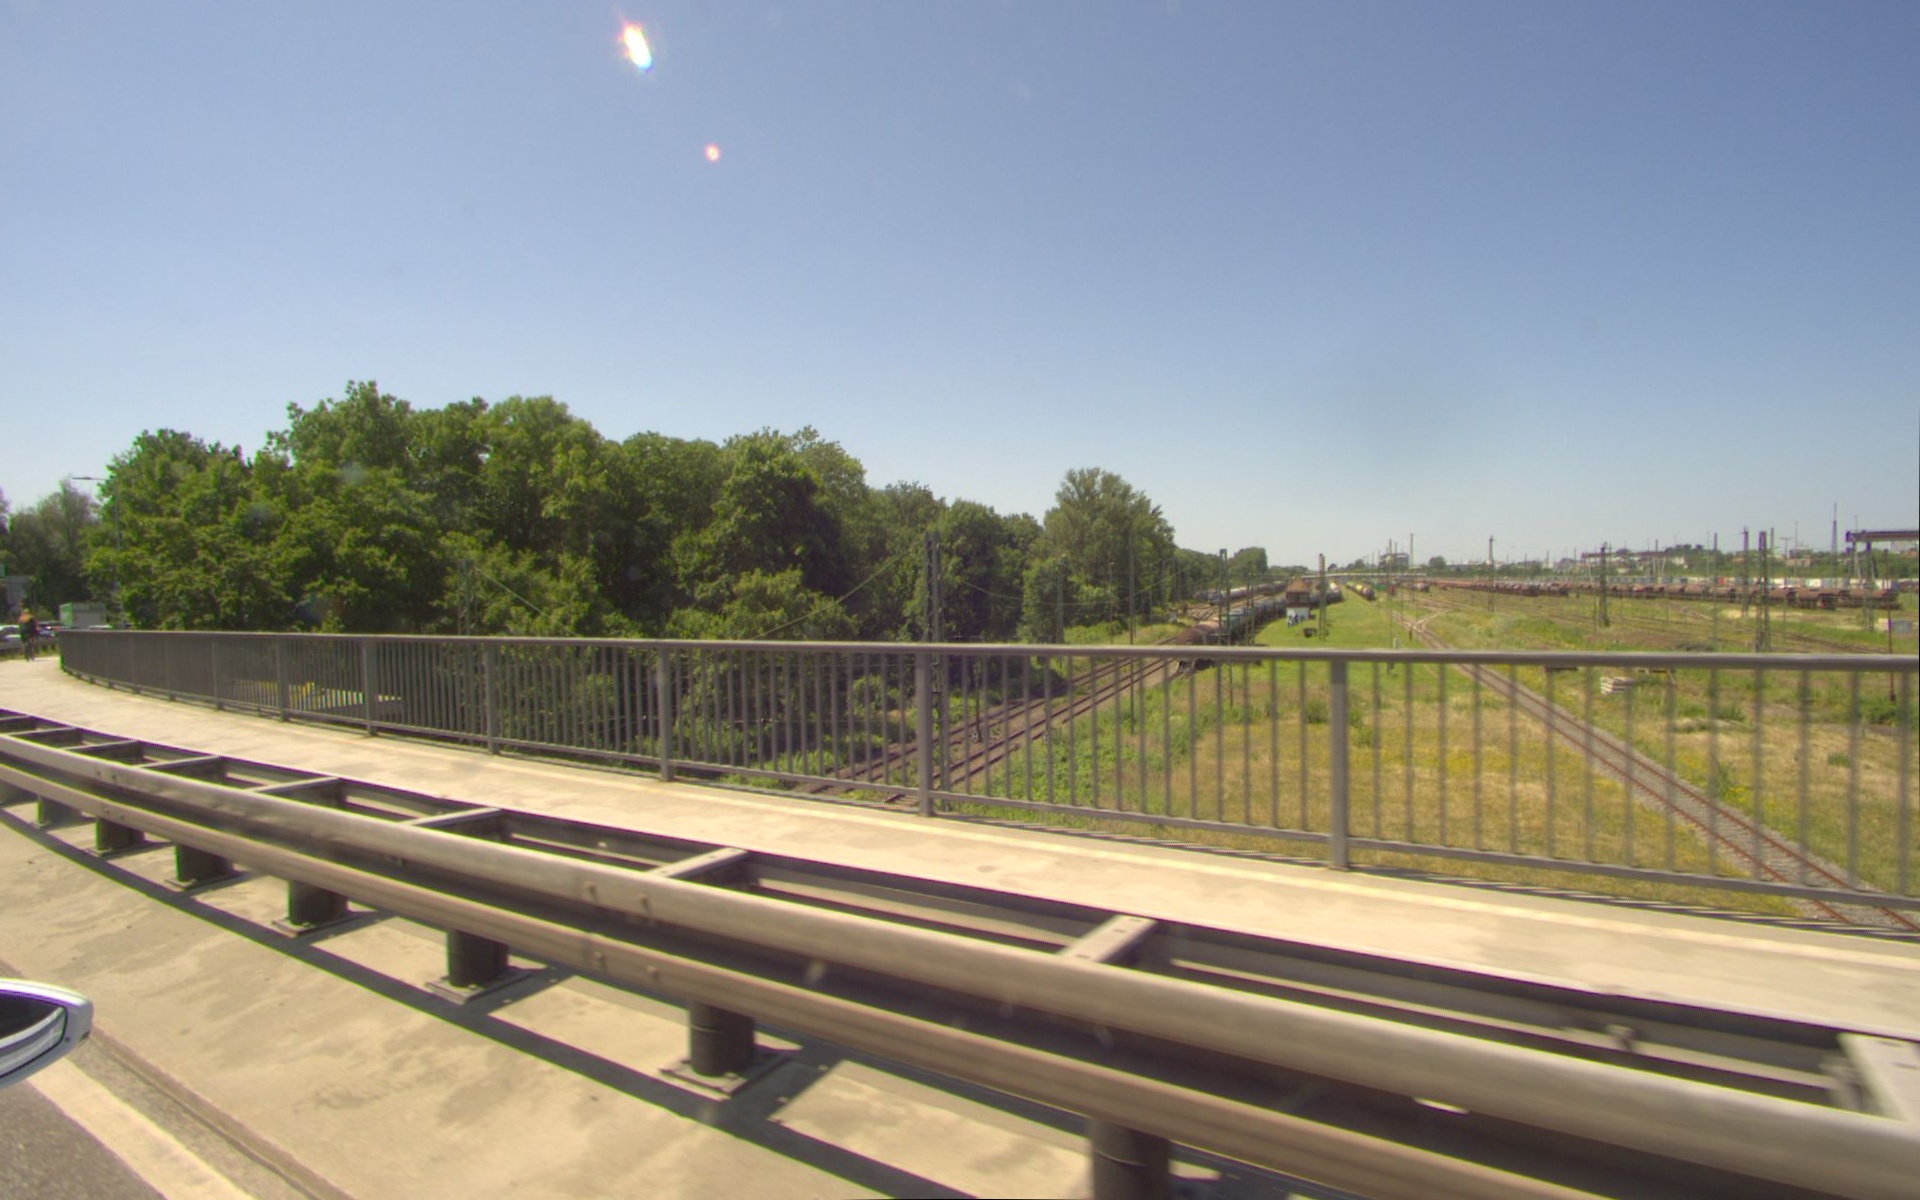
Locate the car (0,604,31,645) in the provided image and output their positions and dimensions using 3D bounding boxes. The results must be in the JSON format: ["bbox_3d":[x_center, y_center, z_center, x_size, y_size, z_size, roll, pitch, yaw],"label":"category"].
[{"bbox_3d":[-45.572,1.152,47.404,1.704,1.868,3.974,1,-1,-34],"label":"car"}]

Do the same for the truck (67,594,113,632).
[{"bbox_3d":[-69.844,1.062,80.337,5.879,2.911,2.321,0,-1,44],"label":"truck"}]

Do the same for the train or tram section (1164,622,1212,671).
[{"bbox_3d":[25.160,4.951,109.987,3.784,4.366,13.602,-2,1,18],"label":"train or tram section"}]

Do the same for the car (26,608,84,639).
[{"bbox_3d":[-53.187,1.400,58.913,1.666,1.783,3.981,0,-2,-29],"label":"car"}]

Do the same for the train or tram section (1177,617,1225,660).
[{"bbox_3d":[29.698,4.566,122.851,3.786,4.366,13.593,-2,1,21],"label":"train or tram section"}]

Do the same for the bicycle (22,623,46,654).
[{"bbox_3d":[-32.540,1.332,35.190,0.578,1.049,1.470,-3,2,-43],"label":"bicycle"}]

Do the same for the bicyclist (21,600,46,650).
[{"bbox_3d":[-32.516,0.872,35.141,0.574,1.706,0.722,-3,2,-44],"label":"bicyclist"}]

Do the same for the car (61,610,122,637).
[{"bbox_3d":[-56.453,1.534,65.183,1.970,1.594,3.986,2,-4,-26],"label":"car"}]

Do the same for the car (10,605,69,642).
[{"bbox_3d":[-48.855,1.222,53.235,1.704,1.868,3.974,1,-1,-34],"label":"car"}]
